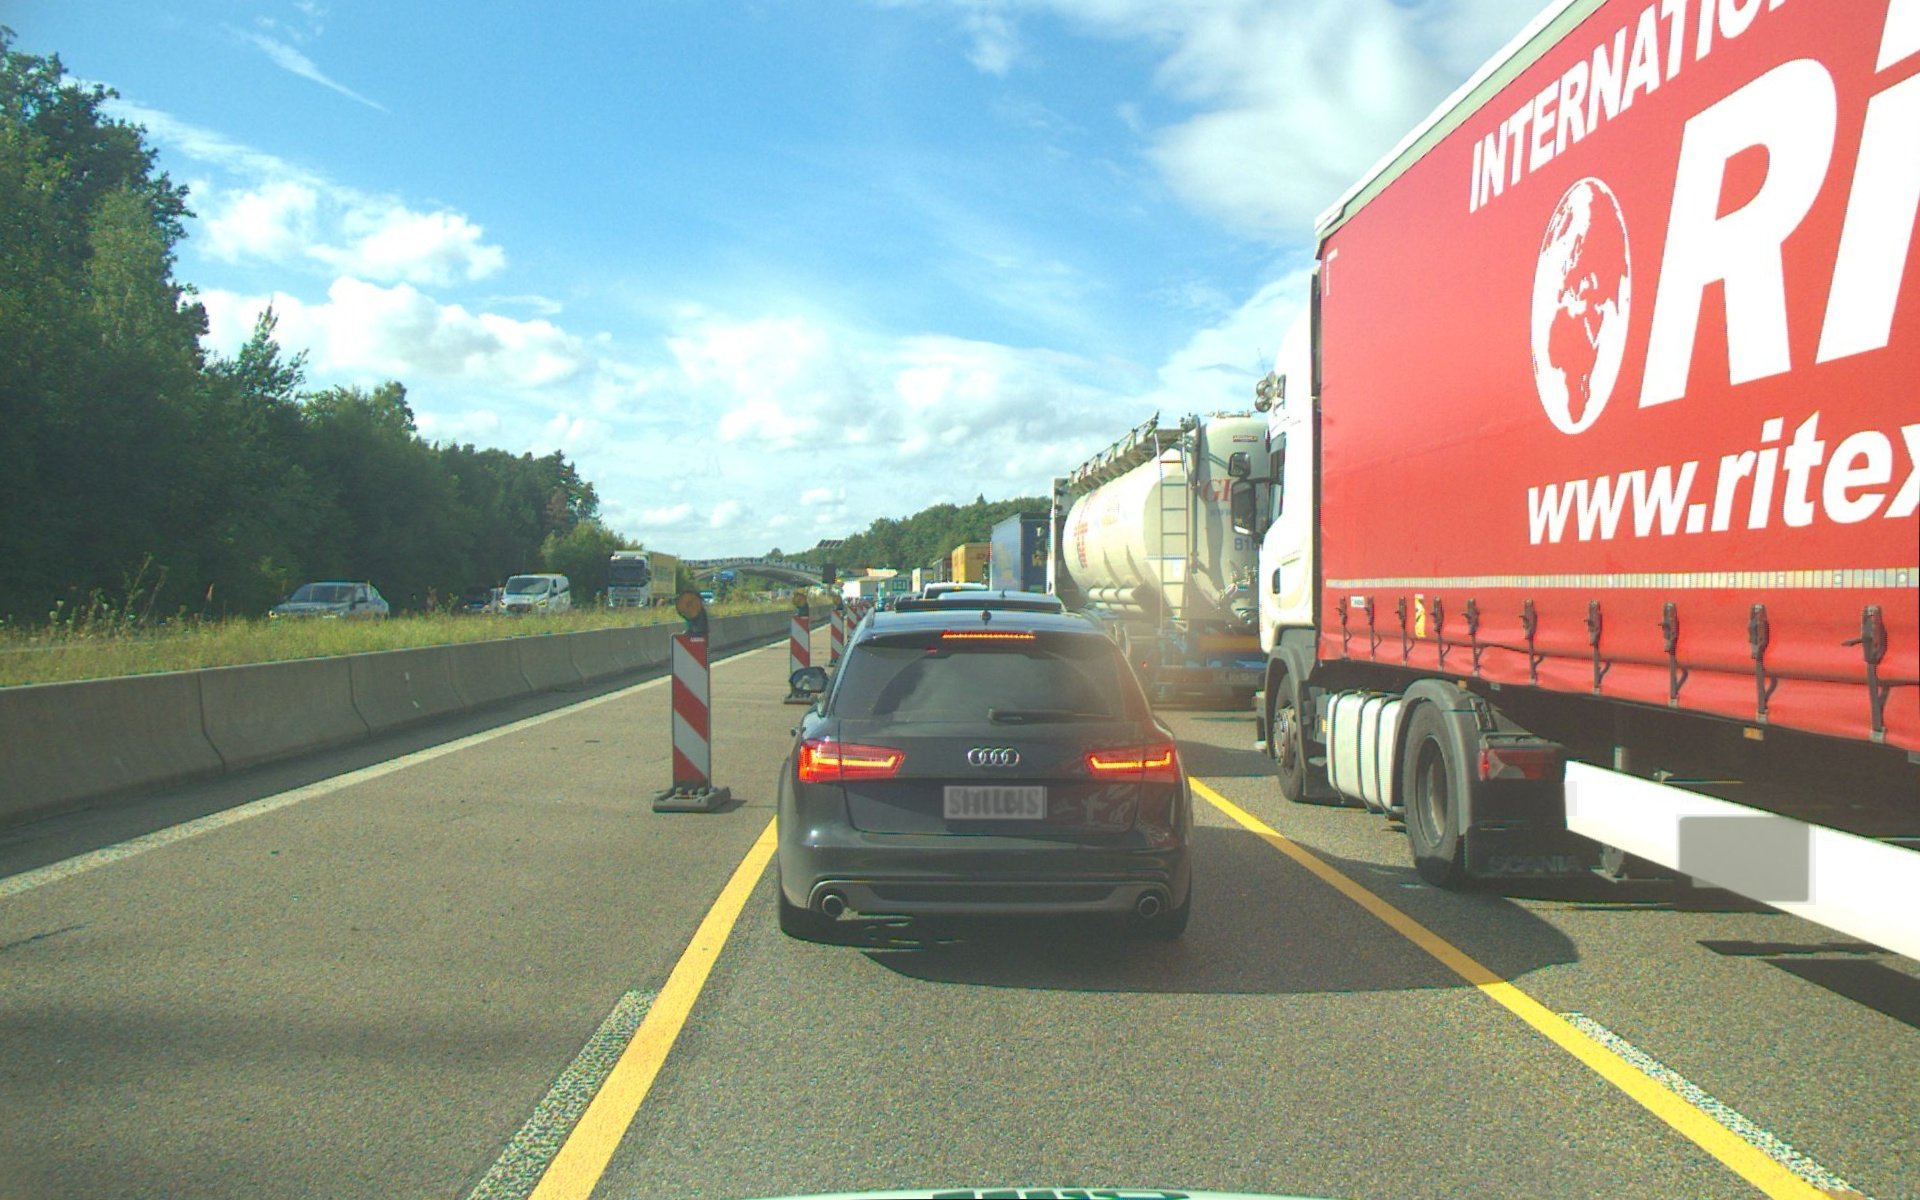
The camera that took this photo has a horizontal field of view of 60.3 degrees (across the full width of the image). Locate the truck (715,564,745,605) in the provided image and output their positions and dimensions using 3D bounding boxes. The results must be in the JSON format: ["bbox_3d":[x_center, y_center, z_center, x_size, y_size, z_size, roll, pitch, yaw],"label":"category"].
[{"bbox_3d":[-24.977,-1.662,179.791,2.584,4.262,5.466,1,0,-1],"label":"truck"}]

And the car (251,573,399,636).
[{"bbox_3d":[-15.153,0.108,39.721,1.918,1.386,4.287,1,0,-1],"label":"car"}]

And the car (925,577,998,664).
[{"bbox_3d":[0.007,0.451,37.461,1.549,1.869,3.111,1,0,-1],"label":"car"}]

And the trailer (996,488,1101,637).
[{"bbox_3d":[2.822,-1.111,55.733,2.748,4.490,10.430,1,0,-1],"label":"trailer"}]

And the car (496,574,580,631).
[{"bbox_3d":[-15.885,0.104,62.534,1.953,2.049,4.830,1,0,-1],"label":"car"}]

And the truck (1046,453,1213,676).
[{"bbox_3d":[3.268,-0.638,33.237,2.605,4.041,5.777,1,0,-1],"label":"truck"}]

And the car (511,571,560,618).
[{"bbox_3d":[-24.865,-0.311,97.071,2.208,2.689,5.010,1,0,-8],"label":"car"}]

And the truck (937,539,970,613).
[{"bbox_3d":[-0.535,-1.635,117.117,1.953,5.000,9.558,1,0,-2],"label":"truck"}]

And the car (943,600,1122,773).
[{"bbox_3d":[0.606,0.751,15.830,1.493,1.464,3.284,1,0,-1],"label":"car"}]

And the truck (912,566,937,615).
[{"bbox_3d":[-3.221,-0.848,150.317,2.094,4.332,7.069,1,0,-1],"label":"truck"}]

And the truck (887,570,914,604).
[{"bbox_3d":[-7.659,-1.626,212.129,3.238,4.248,9.696,1,0,-3],"label":"truck"}]

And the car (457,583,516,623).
[{"bbox_3d":[-24.915,0.166,87.207,1.953,2.049,3.999,1,0,-1],"label":"car"}]

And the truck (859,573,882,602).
[{"bbox_3d":[-13.279,-1.825,243.884,3.239,4.248,9.694,1,0,-4],"label":"truck"}]

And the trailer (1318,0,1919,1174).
[{"bbox_3d":[3.901,-0.474,4.349,2.645,4.038,13.413,1,0,-1],"label":"trailer"}]

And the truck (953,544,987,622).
[{"bbox_3d":[0.517,-0.877,87.317,1.577,3.965,4.070,1,0,-2],"label":"truck"}]

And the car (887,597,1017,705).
[{"bbox_3d":[-0.132,0.690,23.985,1.716,1.421,3.607,1,0,-1],"label":"car"}]

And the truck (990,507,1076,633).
[{"bbox_3d":[2.703,-1.049,63.180,2.749,4.446,7.790,1,0,-1],"label":"truck"}]

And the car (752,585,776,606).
[{"bbox_3d":[-19.164,-0.462,161.804,1.953,1.982,3.999,1,0,-1],"label":"car"}]

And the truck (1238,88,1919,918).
[{"bbox_3d":[3.727,-0.475,10.974,2.614,4.029,5.709,1,0,-2],"label":"truck"}]

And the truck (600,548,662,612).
[{"bbox_3d":[-20.977,-1.228,105.750,2.769,3.977,5.947,1,0,-1],"label":"truck"}]

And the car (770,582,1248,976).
[{"bbox_3d":[0.163,0.695,8.308,1.811,1.489,3.999,0,0,-1],"label":"car"}]

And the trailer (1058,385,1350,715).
[{"bbox_3d":[3.373,-0.622,26.651,2.590,4.012,12.595,1,0,-1],"label":"trailer"}]

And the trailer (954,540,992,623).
[{"bbox_3d":[0.625,-0.898,83.355,1.584,3.987,6.487,1,0,-2],"label":"trailer"}]
